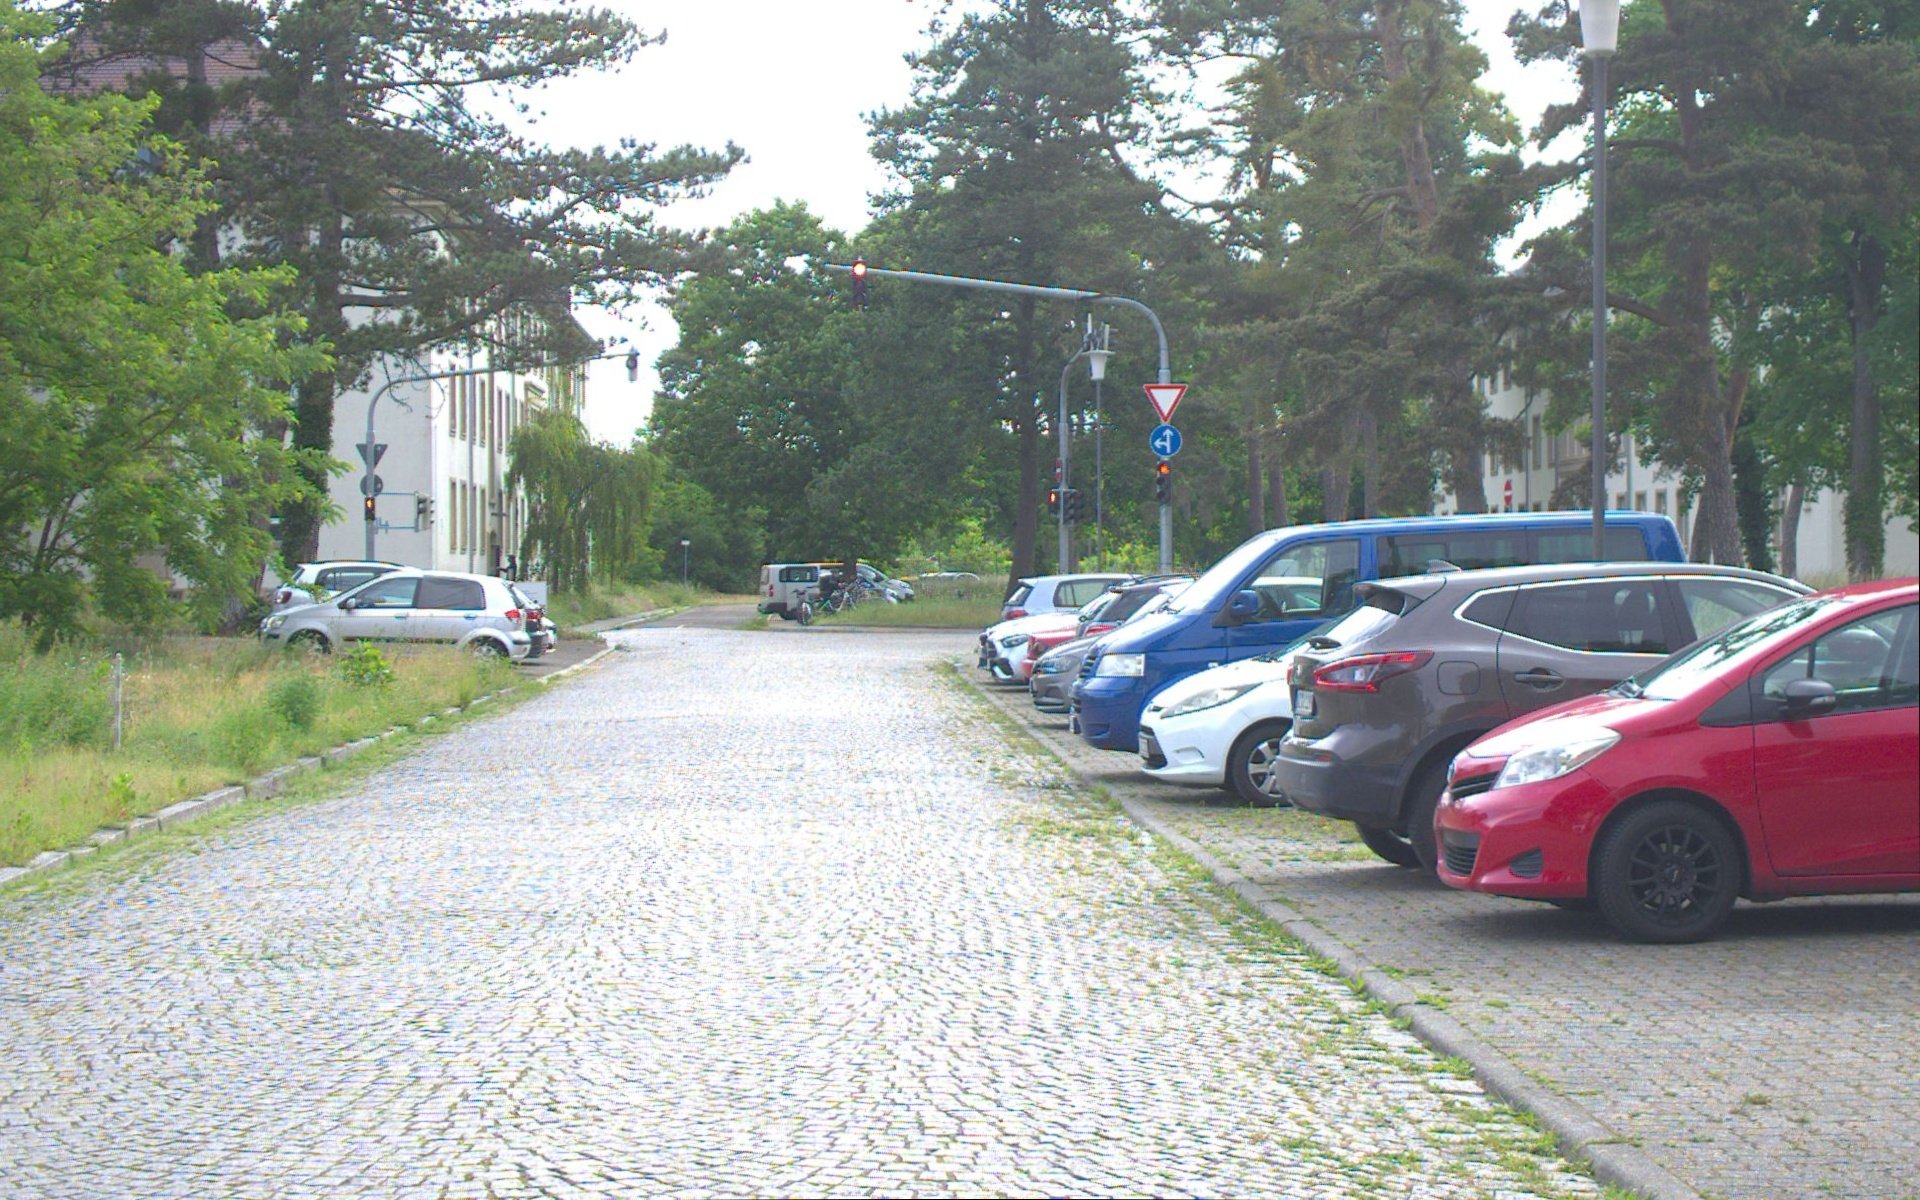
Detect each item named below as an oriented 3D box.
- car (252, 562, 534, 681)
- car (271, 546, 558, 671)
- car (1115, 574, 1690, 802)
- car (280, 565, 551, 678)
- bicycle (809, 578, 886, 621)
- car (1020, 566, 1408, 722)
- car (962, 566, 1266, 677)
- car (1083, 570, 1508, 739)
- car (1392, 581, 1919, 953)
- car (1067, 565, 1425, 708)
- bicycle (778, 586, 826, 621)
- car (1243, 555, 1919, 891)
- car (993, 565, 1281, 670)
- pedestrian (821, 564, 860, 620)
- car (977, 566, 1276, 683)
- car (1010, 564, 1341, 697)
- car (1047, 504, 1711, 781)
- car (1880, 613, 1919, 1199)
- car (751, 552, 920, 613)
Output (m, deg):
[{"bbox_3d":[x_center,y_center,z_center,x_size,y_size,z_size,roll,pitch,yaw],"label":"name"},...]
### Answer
[{"bbox_3d":[-8.022,0.296,48.841,3.821,1.567,1.565,-1,0,-5],"label":"car"},{"bbox_3d":[-8.563,0.126,54.229,4.262,1.834,1.744,-1,0,-3],"label":"car"},{"bbox_3d":[3.020,0.582,23.889,3.671,1.444,1.615,-1,0,-5],"label":"car"},{"bbox_3d":[-8.084,0.313,51.257,3.821,1.567,1.564,-1,0,-3],"label":"car"},{"bbox_3d":[-3.245,-0.028,99.039,2.136,1.210,0.622,1,0,-6],"label":"bicycle"},{"bbox_3d":[2.518,0.429,34.528,3.671,1.444,1.524,-1,0,-4],"label":"car"},{"bbox_3d":[2.106,0.285,47.610,3.967,1.416,1.620,-1,0,-6],"label":"car"},{"bbox_3d":[3.062,0.486,31.766,3.671,1.444,1.524,-1,0,-4],"label":"car"},{"bbox_3d":[3.914,0.655,14.877,3.792,1.455,1.751,-1,0,-2],"label":"car"},{"bbox_3d":[3.089,0.387,37.538,3.671,1.444,1.524,-1,0,-4],"label":"car"},{"bbox_3d":[-4.375,0.087,94.928,0.620,0.942,1.663,1,0,-30],"label":"bicycle"},{"bbox_3d":[3.598,0.573,17.527,4.028,1.547,1.751,-1,0,-5],"label":"car"},{"bbox_3d":[2.562,0.243,50.278,3.967,1.416,1.620,-1,0,-6],"label":"car"},{"bbox_3d":[-3.458,-0.238,99.373,1.033,1.608,0.757,1,0,-7],"label":"pedestrian"},{"bbox_3d":[2.144,0.305,44.754,3.671,1.416,1.524,-1,0,-6],"label":"car"},{"bbox_3d":[2.493,0.341,40.225,3.671,1.444,1.524,-1,0,-4],"label":"car"},{"bbox_3d":[3.152,0.308,26.486,4.753,1.948,1.931,-1,0,-4],"label":"car"},{"bbox_3d":[4.135,0.722,7.299,3.825,1.455,1.779,-1,0,-3],"label":"car"},{"bbox_3d":[-4.247,-0.599,116.923,5.444,2.007,2.269,1,0,-11],"label":"car"}]
